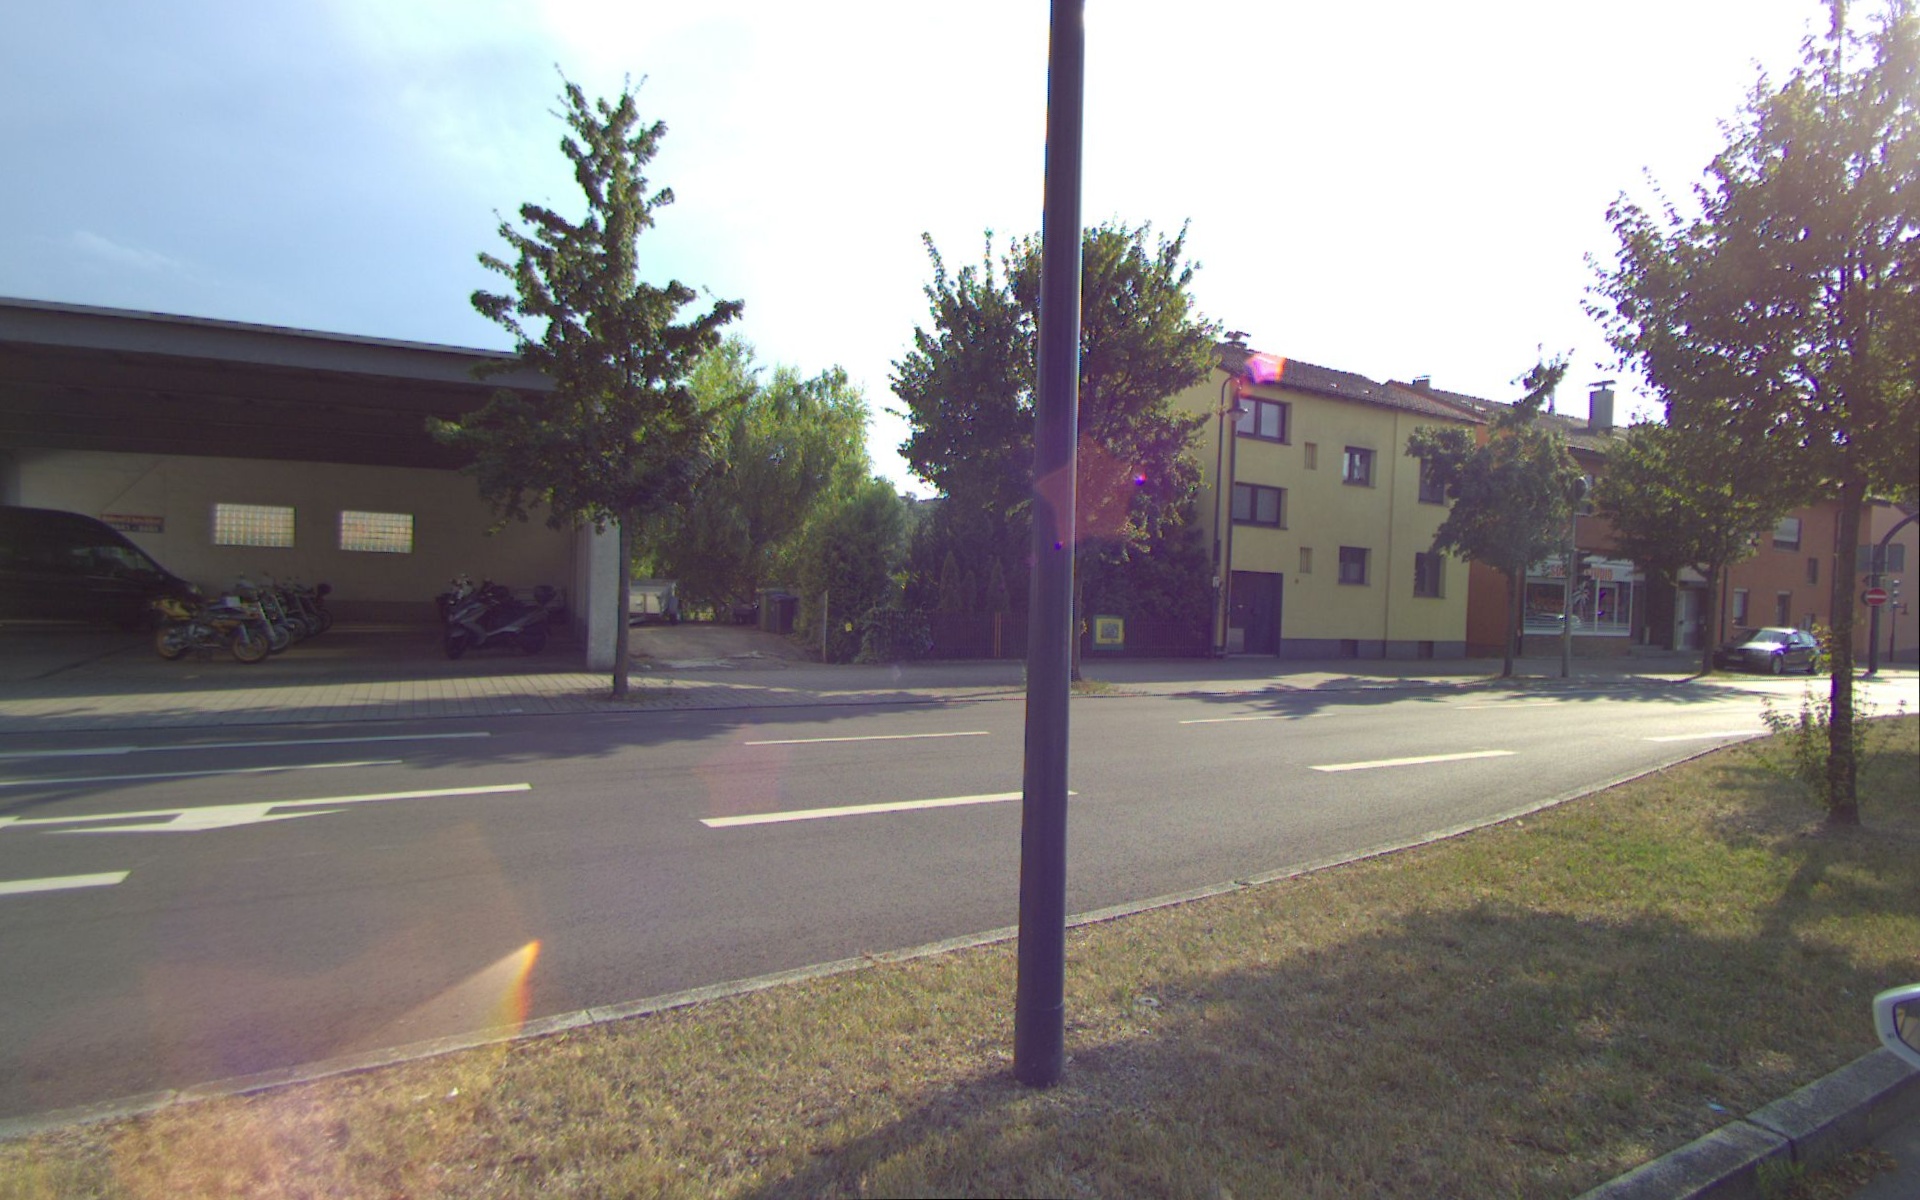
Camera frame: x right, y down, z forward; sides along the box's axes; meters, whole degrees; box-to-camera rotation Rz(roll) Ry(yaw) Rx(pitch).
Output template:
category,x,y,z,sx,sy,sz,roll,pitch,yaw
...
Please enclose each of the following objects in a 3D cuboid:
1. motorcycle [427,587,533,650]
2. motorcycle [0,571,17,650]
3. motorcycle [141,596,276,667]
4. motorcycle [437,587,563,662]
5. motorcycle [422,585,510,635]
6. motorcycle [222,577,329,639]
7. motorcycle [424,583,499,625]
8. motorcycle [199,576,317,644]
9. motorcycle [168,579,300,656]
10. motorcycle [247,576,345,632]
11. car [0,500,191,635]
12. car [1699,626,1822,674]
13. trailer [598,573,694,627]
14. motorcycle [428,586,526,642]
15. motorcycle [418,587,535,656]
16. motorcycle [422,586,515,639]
category,x,y,z,sx,sy,sz,roll,pitch,yaw
motorcycle,-10.736,0.383,22.542,0.621,1.314,2.113,1,2,36
motorcycle,-17.280,0.167,16.729,0.619,1.380,2.225,1,0,24
motorcycle,-12.490,0.502,16.702,1.993,1.101,0.631,1,0,12
motorcycle,-8.612,0.429,18.902,0.621,1.314,2.113,1,2,36
motorcycle,-13.507,0.239,27.523,0.621,1.314,2.113,1,2,36
motorcycle,-15.878,0.180,23.318,2.219,1.354,0.631,1,0,10
motorcycle,-15.953,0.100,32.181,0.621,1.314,2.113,1,2,36
motorcycle,-14.746,0.204,21.109,2.219,1.354,0.631,1,0,10
motorcycle,-13.625,0.318,18.867,2.219,1.354,0.631,1,0,10
motorcycle,-16.903,0.101,25.577,2.219,1.354,0.631,1,0,10
car,-20.446,-0.683,22.096,1.962,2.789,5.280,1,0,26
car,25.975,1.595,32.561,3.953,1.319,1.728,1,4,-30
trailer,-8.211,-0.007,26.622,1.698,1.280,3.995,1,0,-7
motorcycle,-11.760,0.311,24.542,0.621,1.314,2.113,1,2,36
motorcycle,-9.806,0.400,20.464,0.621,1.314,2.113,1,2,36
motorcycle,-12.642,0.291,25.925,0.621,1.314,2.113,1,2,36
